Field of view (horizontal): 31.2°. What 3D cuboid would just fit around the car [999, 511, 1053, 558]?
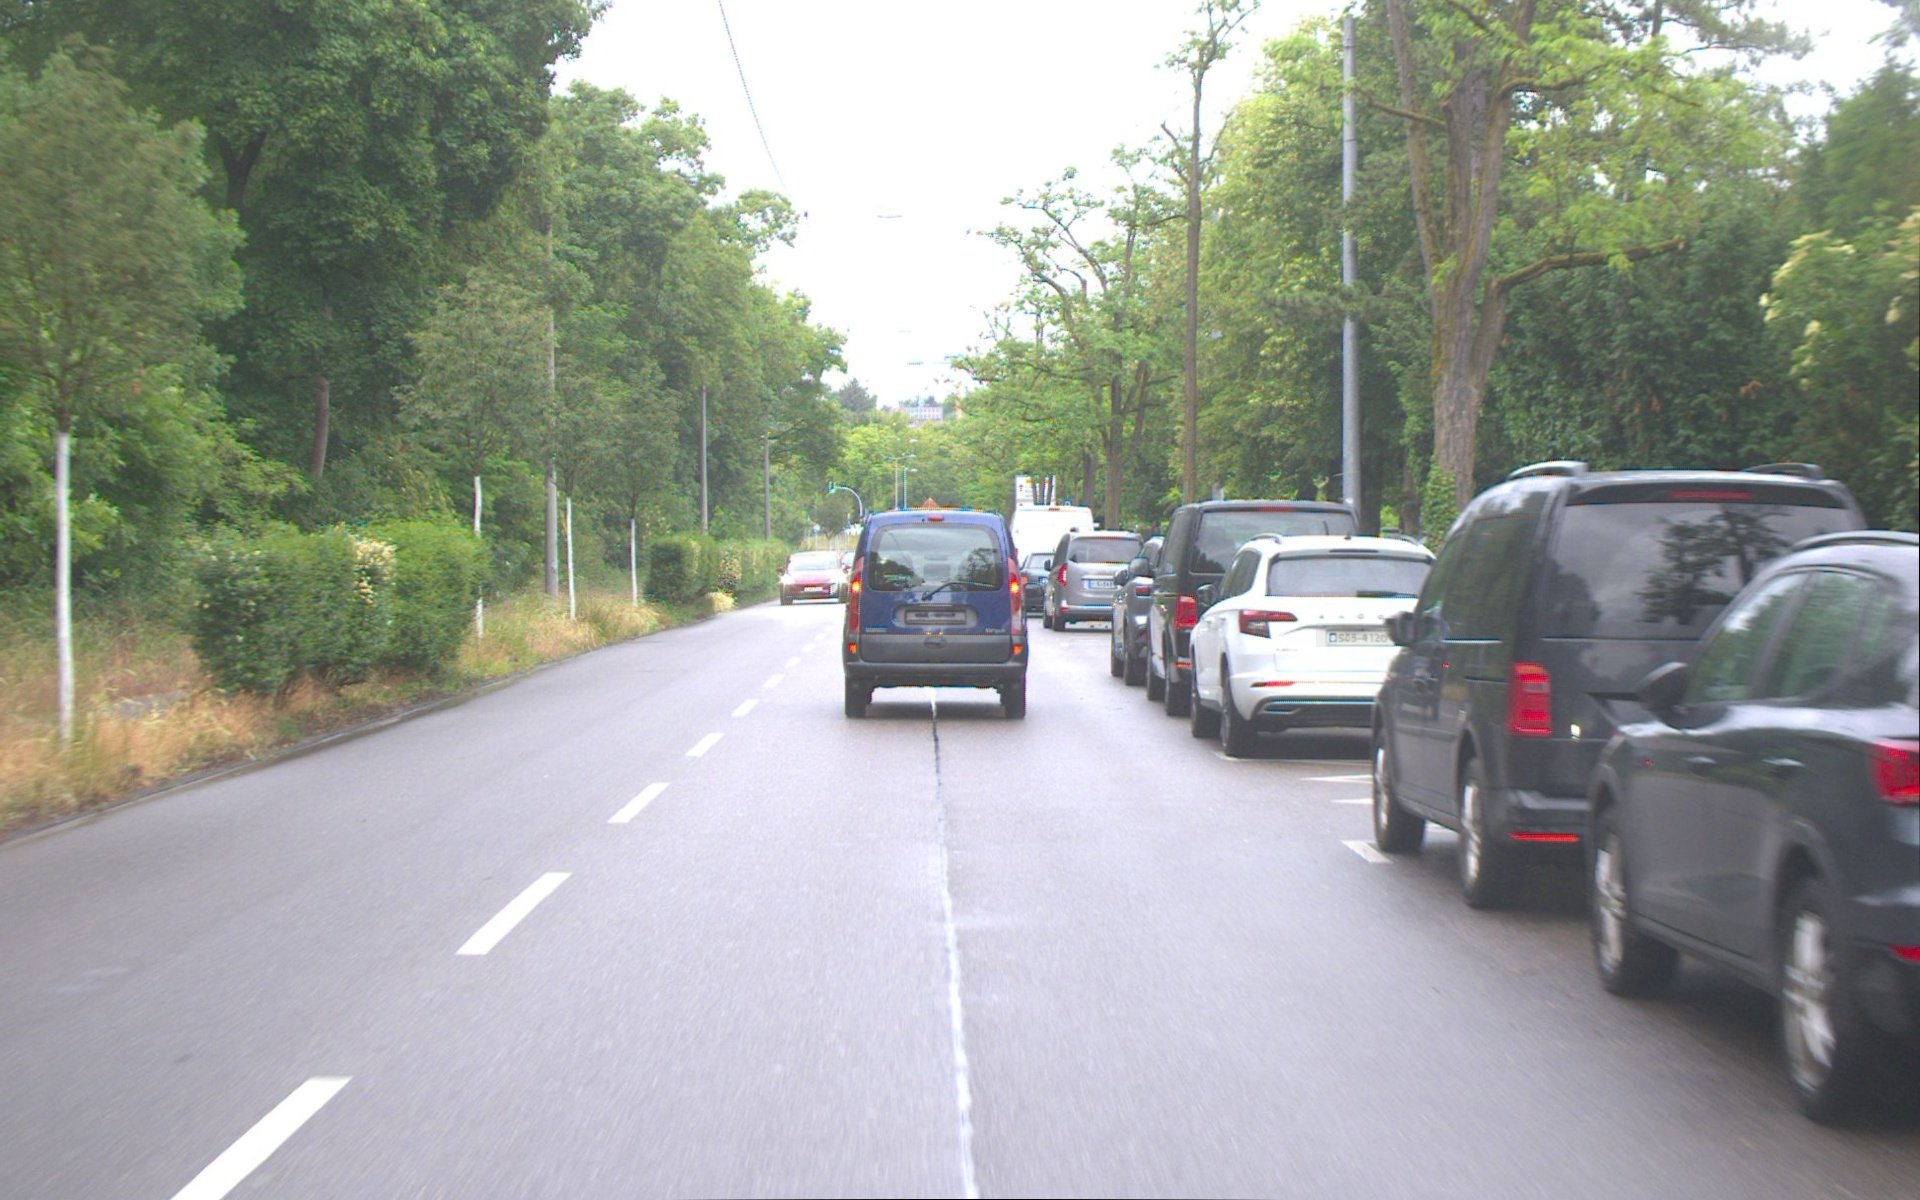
[{"bbox_3d":[2.213,-2.233,116.348,1.721,1.500,4.050,1,2,0],"label":"car"}]

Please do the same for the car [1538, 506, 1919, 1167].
[{"bbox_3d":[2.927,0.520,10.162,1.678,1.550,4.076,1,2,0],"label":"car"}]

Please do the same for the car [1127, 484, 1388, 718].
[{"bbox_3d":[2.719,-0.062,32.538,1.993,2.006,4.888,1,2,0],"label":"car"}]

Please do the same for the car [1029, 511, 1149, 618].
[{"bbox_3d":[2.314,-0.679,62.634,1.814,1.807,4.283,1,2,-2],"label":"car"}]

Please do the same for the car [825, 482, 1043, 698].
[{"bbox_3d":[-0.291,-0.141,31.291,1.766,1.824,3.543,1,2,-3],"label":"car"}]

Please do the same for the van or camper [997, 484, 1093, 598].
[{"bbox_3d":[2.024,-1.463,83.495,2.078,2.641,5.346,1,2,-1],"label":"van or camper"}]

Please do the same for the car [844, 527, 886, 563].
[{"bbox_3d":[-4.099,-2.352,148.661,1.783,1.474,3.968,-1,0,-1],"label":"car"}]

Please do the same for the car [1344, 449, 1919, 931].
[{"bbox_3d":[2.874,0.288,15.506,1.730,1.841,4.230,1,2,0],"label":"car"}]

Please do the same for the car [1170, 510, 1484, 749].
[{"bbox_3d":[2.686,0.151,26.072,1.804,1.607,4.287,1,2,-1],"label":"car"}]

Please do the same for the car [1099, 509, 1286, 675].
[{"bbox_3d":[2.577,-0.142,39.000,1.773,1.717,4.327,1,2,0],"label":"car"}]

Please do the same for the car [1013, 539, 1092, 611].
[{"bbox_3d":[2.054,-0.569,75.454,1.626,1.459,3.807,1,2,3],"label":"car"}]

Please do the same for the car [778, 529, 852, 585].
[{"bbox_3d":[-4.011,-1.208,95.538,1.860,1.475,4.156,-1,1,0],"label":"car"}]
